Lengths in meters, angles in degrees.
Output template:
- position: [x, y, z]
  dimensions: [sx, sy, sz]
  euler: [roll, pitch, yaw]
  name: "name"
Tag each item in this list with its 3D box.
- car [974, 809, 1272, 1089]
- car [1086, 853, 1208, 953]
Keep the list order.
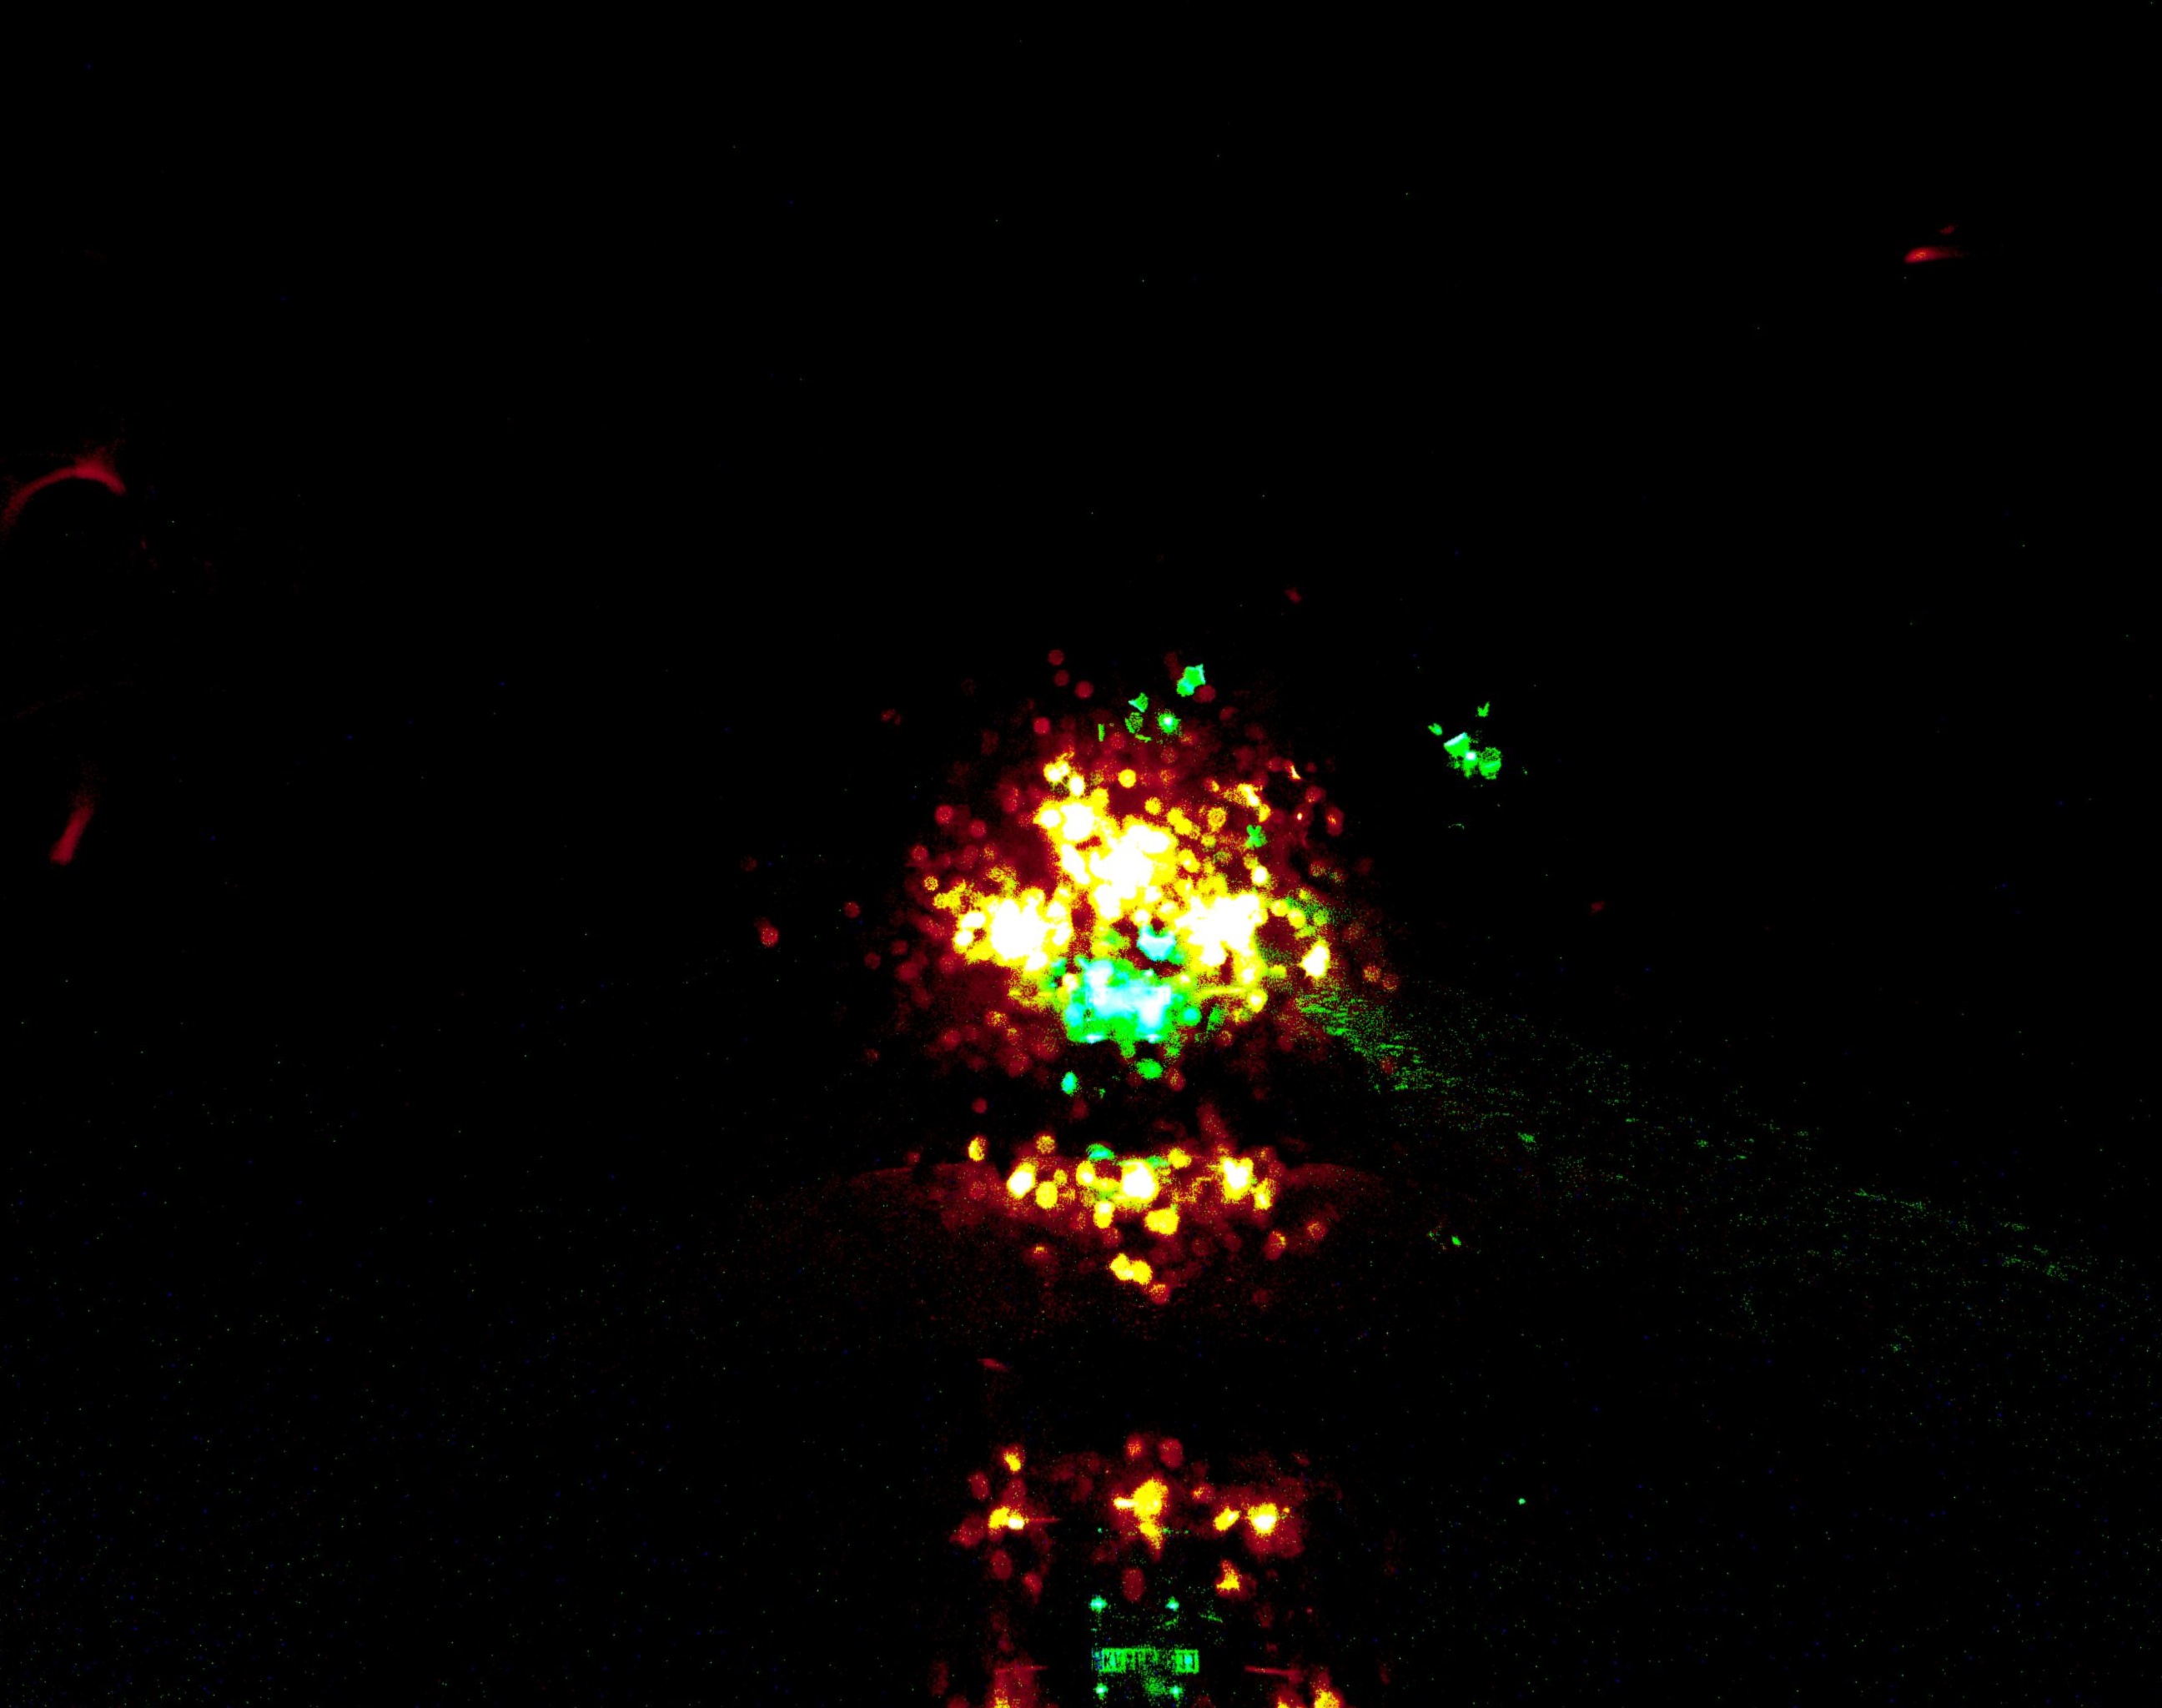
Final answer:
- position: [0.356, 0.566, 6.914]
  dimensions: [1.783, 1.681, 3.908]
  euler: [-1, 0, 3]
  name: "car"
- position: [1.147, 0.718, 13.857]
  dimensions: [1.735, 1.415, 4.006]
  euler: [-2, 0, 5]
  name: "car"
